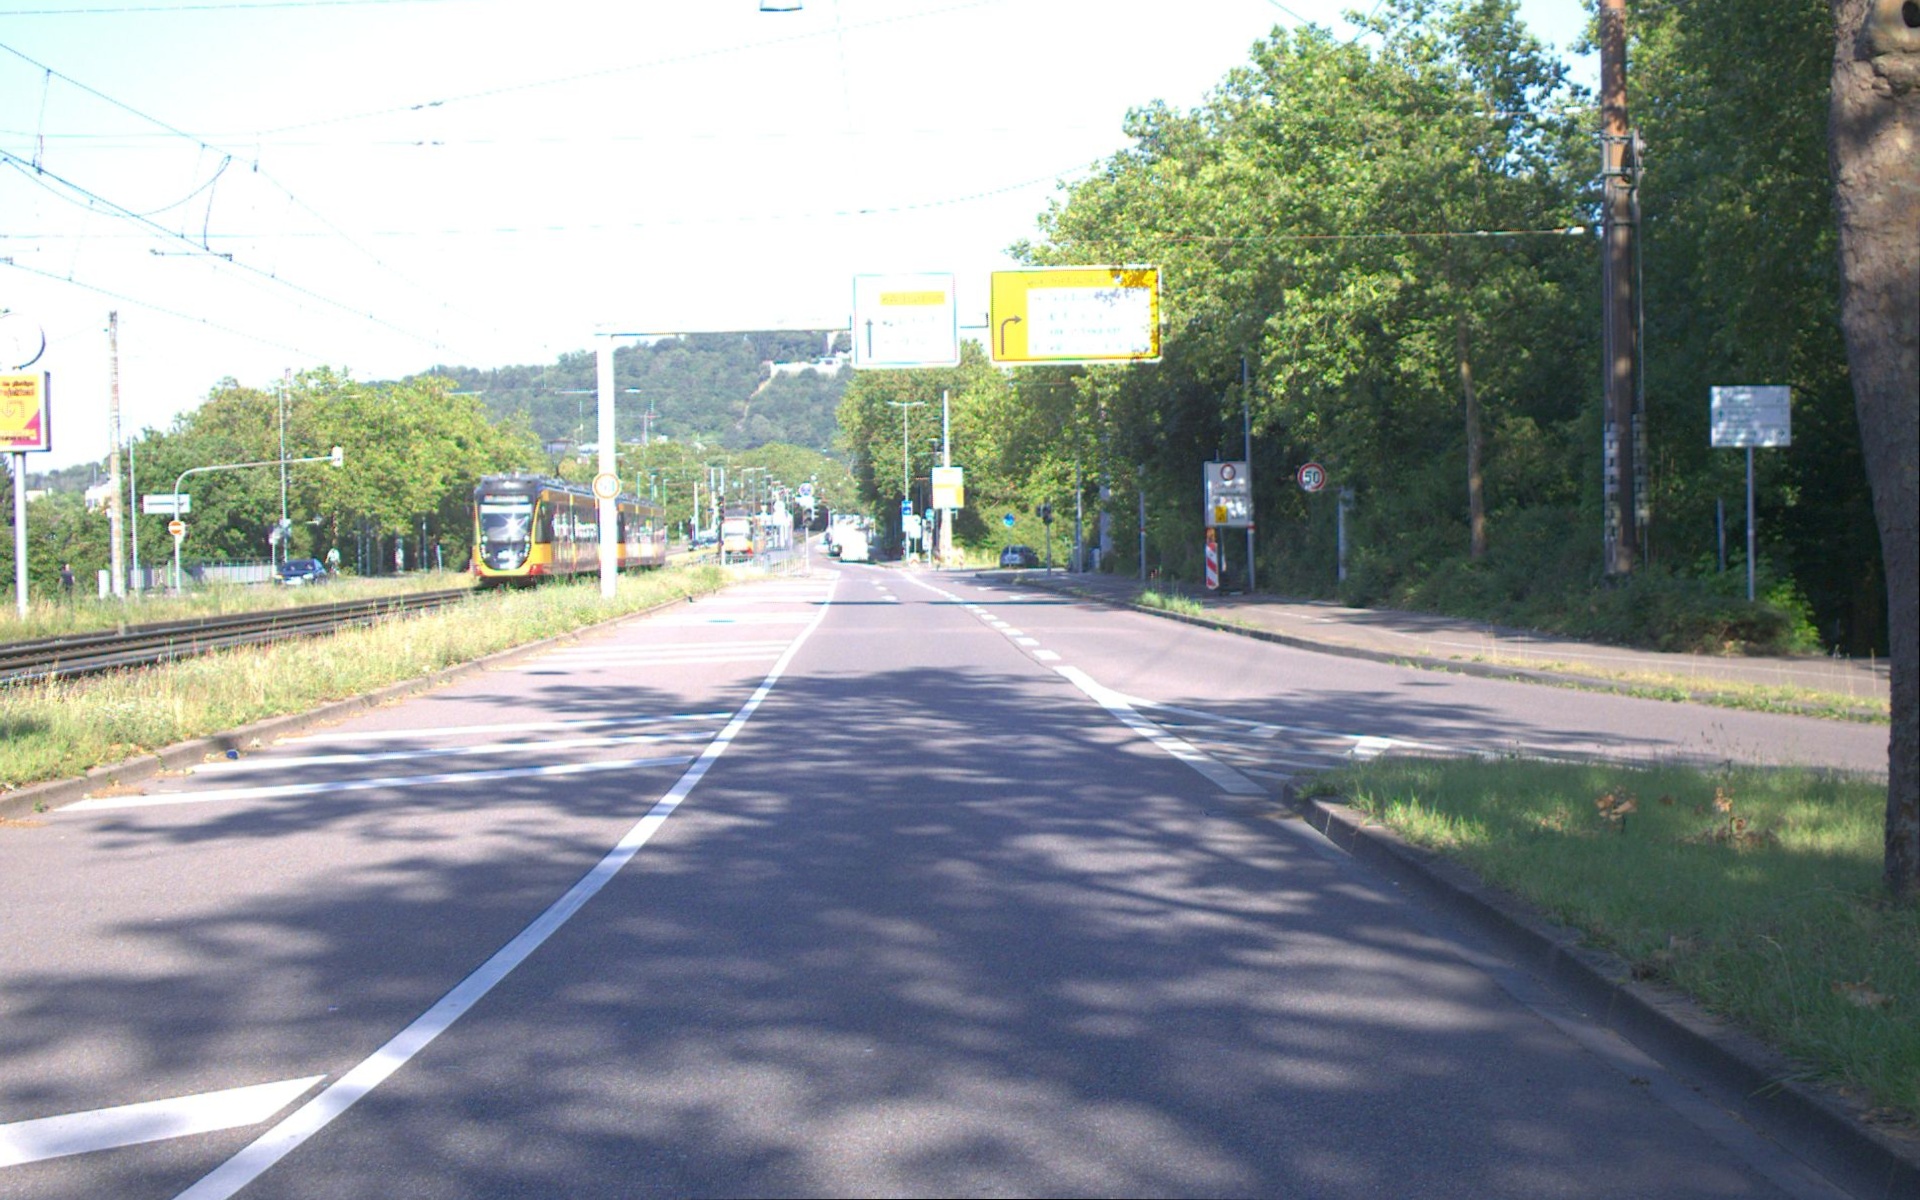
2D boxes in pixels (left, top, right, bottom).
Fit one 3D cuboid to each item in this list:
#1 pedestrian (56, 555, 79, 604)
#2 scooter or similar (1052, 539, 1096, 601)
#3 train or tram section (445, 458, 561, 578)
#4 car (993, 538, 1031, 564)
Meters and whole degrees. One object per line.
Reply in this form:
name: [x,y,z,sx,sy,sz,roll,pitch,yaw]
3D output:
pedestrian: [-33.600,-0.770,129.401,0.540,1.815,0.650,0,1,21]
scooter or similar: [5.080,-1.344,153.588,1.681,2.706,4.869,0,1,-1]
train or tram section: [-15.519,-2.750,117.527,2.804,3.889,12.334,0,1,-2]
car: [3.144,-2.992,207.920,2.086,1.560,3.955,0,1,4]
